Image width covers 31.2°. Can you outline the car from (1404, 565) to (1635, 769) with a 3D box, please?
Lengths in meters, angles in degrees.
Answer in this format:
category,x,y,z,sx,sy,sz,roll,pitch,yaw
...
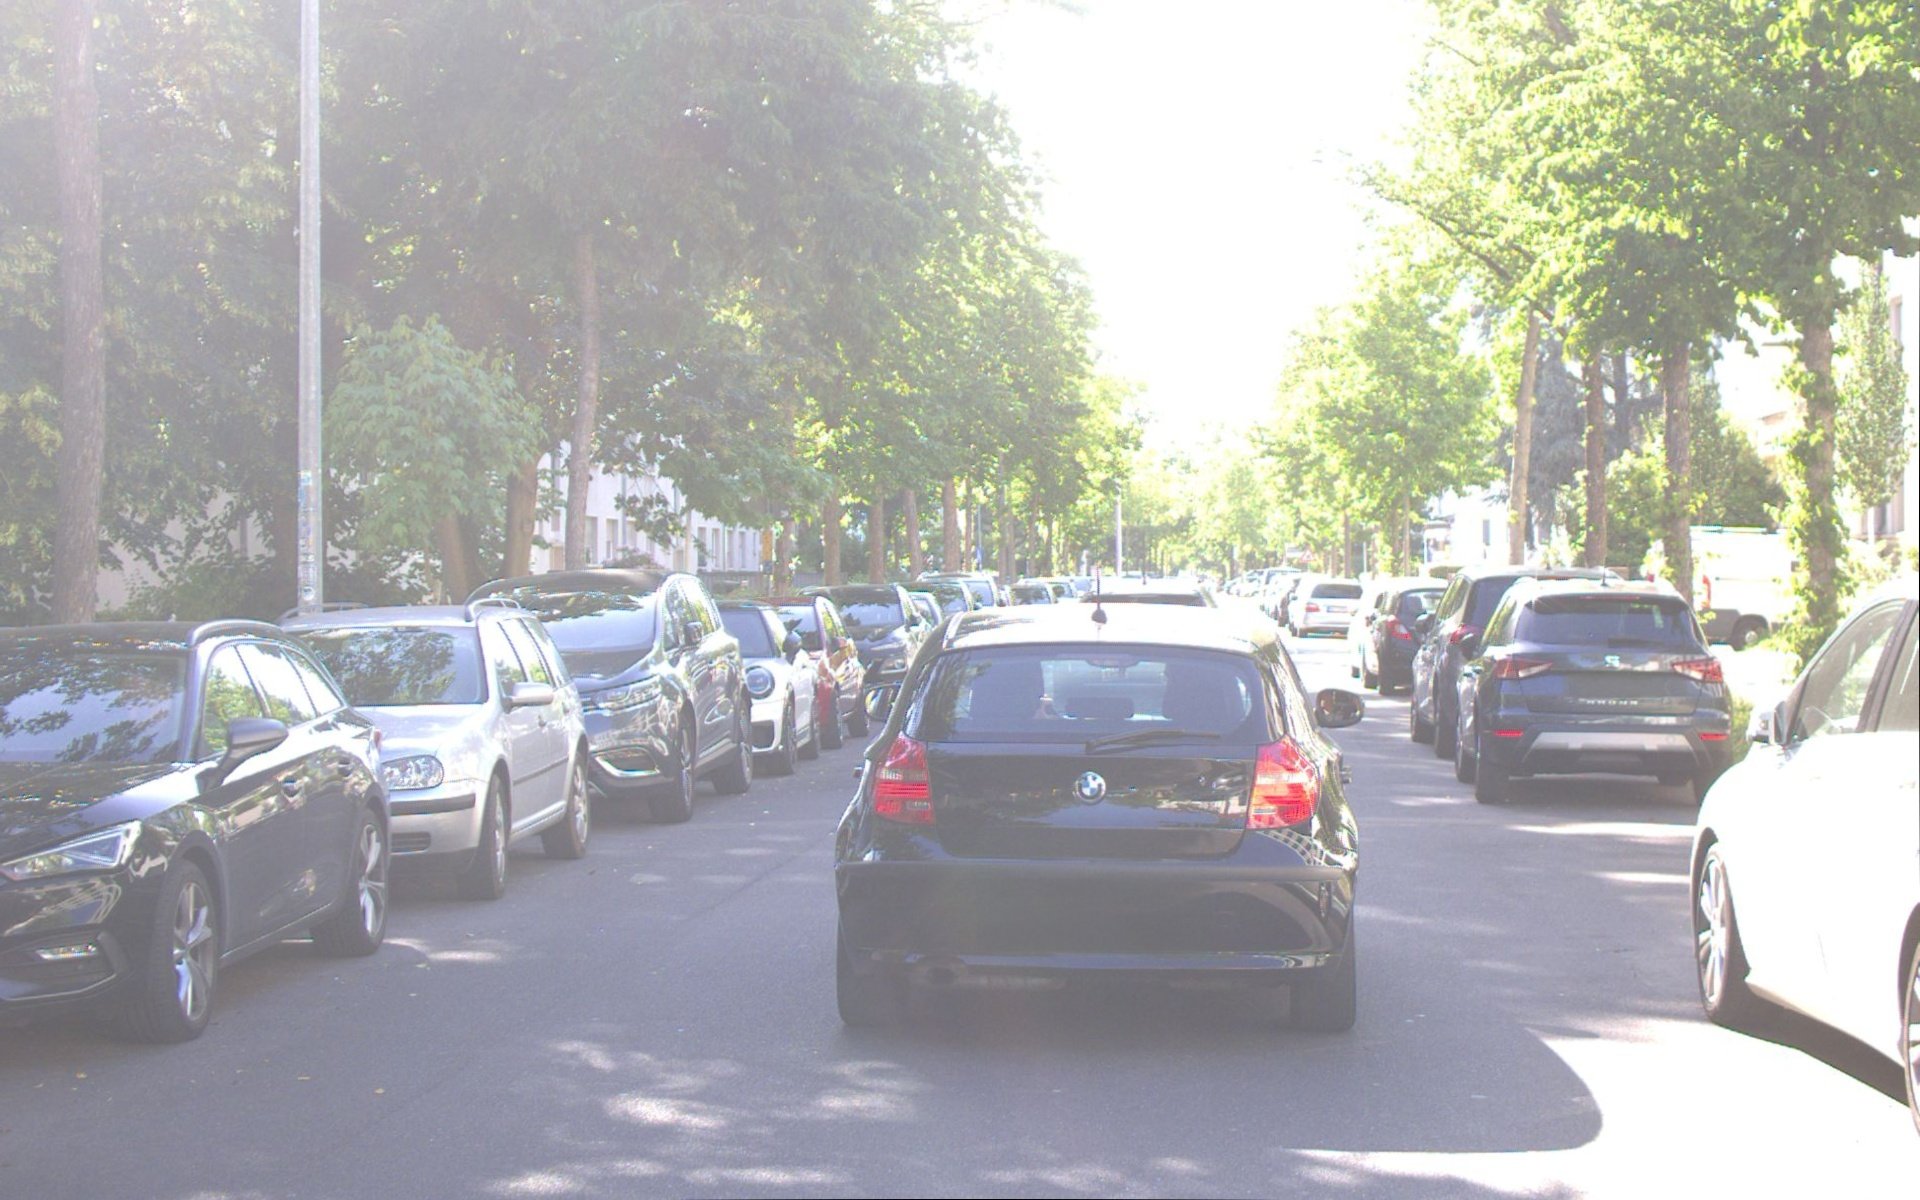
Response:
category,x,y,z,sx,sy,sz,roll,pitch,yaw
car,4.898,0.540,30.513,1.721,1.635,3.850,2,1,6

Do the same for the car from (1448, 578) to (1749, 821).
category,x,y,z,sx,sy,sz,roll,pitch,yaw
car,4.463,0.637,24.522,1.721,1.523,3.999,2,1,5

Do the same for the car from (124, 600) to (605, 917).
category,x,y,z,sx,sy,sz,roll,pitch,yaw
car,-2.982,0.745,17.947,1.612,1.422,3.725,-1,0,4

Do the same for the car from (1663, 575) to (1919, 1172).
category,x,y,z,sx,sy,sz,roll,pitch,yaw
car,3.312,0.695,10.134,1.693,1.519,4.000,0,0,1

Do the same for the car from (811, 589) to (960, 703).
category,x,y,z,sx,sy,sz,roll,pitch,yaw
car,-0.949,0.575,45.466,1.612,1.387,3.865,-1,0,4

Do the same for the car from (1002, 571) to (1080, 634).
category,x,y,z,sx,sy,sz,roll,pitch,yaw
car,1.899,0.046,79.501,1.612,1.387,3.865,-1,0,4

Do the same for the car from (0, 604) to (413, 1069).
category,x,y,z,sx,sy,sz,roll,pitch,yaw
car,-3.314,0.760,12.864,1.612,1.422,4.057,-1,0,4

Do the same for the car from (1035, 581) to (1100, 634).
category,x,y,z,sx,sy,sz,roll,pitch,yaw
car,2.957,0.199,93.715,1.612,1.387,3.865,-1,0,4

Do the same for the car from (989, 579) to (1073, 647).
category,x,y,z,sx,sy,sz,roll,pitch,yaw
car,1.549,0.271,74.089,1.612,1.387,3.865,-1,0,4

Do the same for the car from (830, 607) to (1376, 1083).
category,x,y,z,sx,sy,sz,roll,pitch,yaw
car,0.407,0.750,12.199,1.649,1.392,3.412,-1,1,-1

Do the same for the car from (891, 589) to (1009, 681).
category,x,y,z,sx,sy,sz,roll,pitch,yaw
car,-0.127,0.537,55.229,1.612,1.387,3.865,-1,0,4

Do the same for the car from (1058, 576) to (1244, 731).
category,x,y,z,sx,sy,sz,roll,pitch,yaw
car,1.962,0.492,34.359,1.650,1.421,4.000,-1,1,6

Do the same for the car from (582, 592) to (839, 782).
category,x,y,z,sx,sy,sz,roll,pitch,yaw
car,-2.038,0.684,29.049,1.612,1.447,3.865,-1,0,4

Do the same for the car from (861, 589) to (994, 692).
category,x,y,z,sx,sy,sz,roll,pitch,yaw
car,-0.438,0.563,49.965,1.612,1.387,3.865,-1,0,4

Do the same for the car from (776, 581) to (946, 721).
category,x,y,z,sx,sy,sz,roll,pitch,yaw
car,-1.123,0.563,40.534,1.612,1.538,3.865,-1,0,4

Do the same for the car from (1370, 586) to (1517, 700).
category,x,y,z,sx,sy,sz,roll,pitch,yaw
car,6.362,0.538,45.559,1.721,1.375,3.850,2,1,6

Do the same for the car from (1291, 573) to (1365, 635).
category,x,y,z,sx,sy,sz,roll,pitch,yaw
car,9.183,0.083,85.539,1.721,1.475,3.850,-1,0,7

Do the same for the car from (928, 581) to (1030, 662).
category,x,y,z,sx,sy,sz,roll,pitch,yaw
car,0.375,0.364,62.714,1.612,1.387,3.865,-1,0,4

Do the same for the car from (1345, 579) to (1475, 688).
category,x,y,z,sx,sy,sz,roll,pitch,yaw
car,6.553,0.458,50.347,1.721,1.475,3.850,2,1,6

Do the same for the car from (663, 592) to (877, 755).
category,x,y,z,sx,sy,sz,roll,pitch,yaw
car,-1.803,0.678,33.656,1.612,1.447,3.865,-1,0,4

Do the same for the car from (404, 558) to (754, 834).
category,x,y,z,sx,sy,sz,roll,pitch,yaw
car,-2.485,0.583,23.364,1.612,1.673,4.233,-1,0,4
